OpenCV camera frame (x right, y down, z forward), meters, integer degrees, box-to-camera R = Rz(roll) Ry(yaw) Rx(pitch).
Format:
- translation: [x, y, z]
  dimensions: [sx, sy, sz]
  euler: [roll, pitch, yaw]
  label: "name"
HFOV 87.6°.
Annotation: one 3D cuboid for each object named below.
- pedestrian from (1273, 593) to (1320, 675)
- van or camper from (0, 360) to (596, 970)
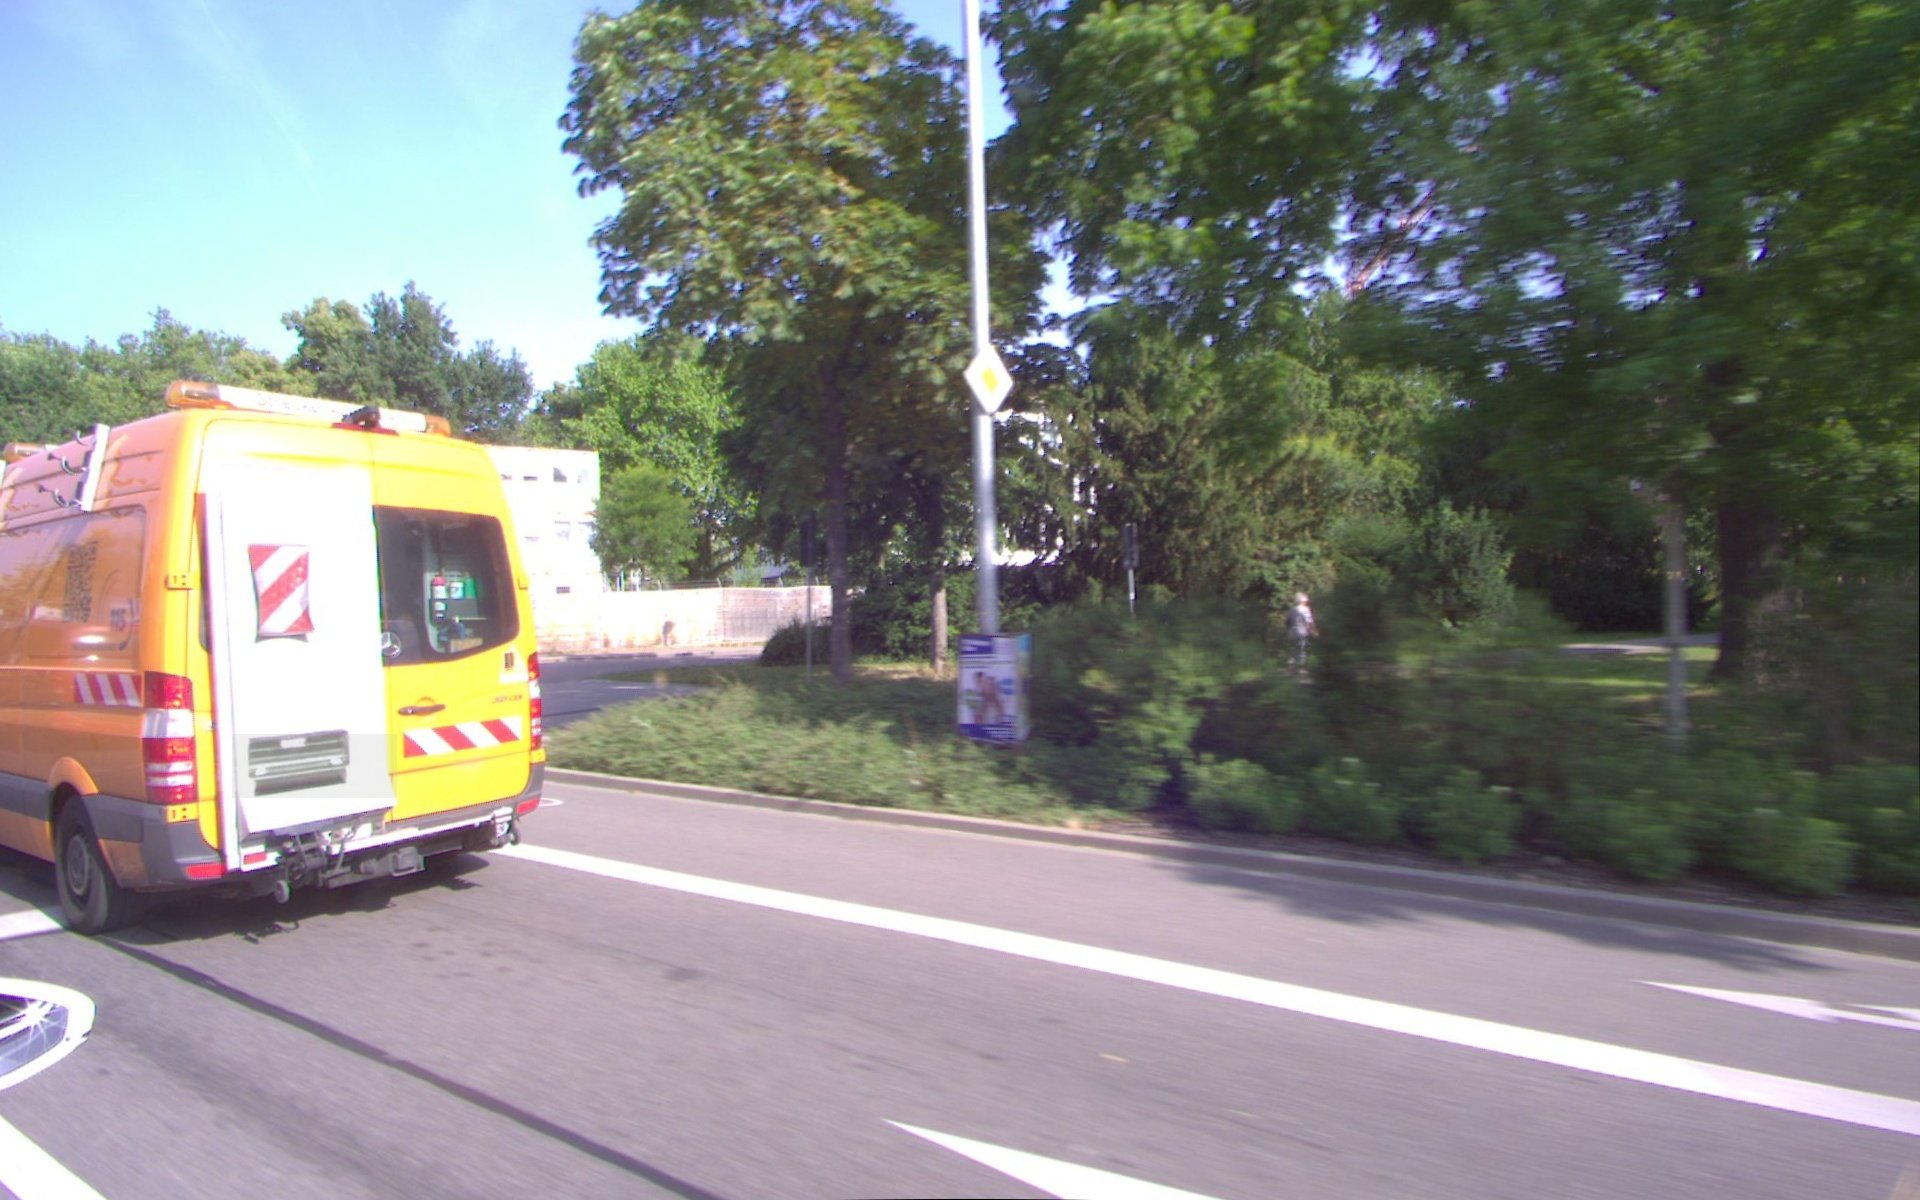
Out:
- translation: [6.453, 0.637, 19.224]
  dimensions: [0.659, 1.538, 0.532]
  euler: [-1, 1, -26]
  label: "pedestrian"
- translation: [-5.138, 0.312, 6.582]
  dimensions: [5.976, 2.504, 1.982]
  euler: [0, -1, 33]
  label: "van or camper"
